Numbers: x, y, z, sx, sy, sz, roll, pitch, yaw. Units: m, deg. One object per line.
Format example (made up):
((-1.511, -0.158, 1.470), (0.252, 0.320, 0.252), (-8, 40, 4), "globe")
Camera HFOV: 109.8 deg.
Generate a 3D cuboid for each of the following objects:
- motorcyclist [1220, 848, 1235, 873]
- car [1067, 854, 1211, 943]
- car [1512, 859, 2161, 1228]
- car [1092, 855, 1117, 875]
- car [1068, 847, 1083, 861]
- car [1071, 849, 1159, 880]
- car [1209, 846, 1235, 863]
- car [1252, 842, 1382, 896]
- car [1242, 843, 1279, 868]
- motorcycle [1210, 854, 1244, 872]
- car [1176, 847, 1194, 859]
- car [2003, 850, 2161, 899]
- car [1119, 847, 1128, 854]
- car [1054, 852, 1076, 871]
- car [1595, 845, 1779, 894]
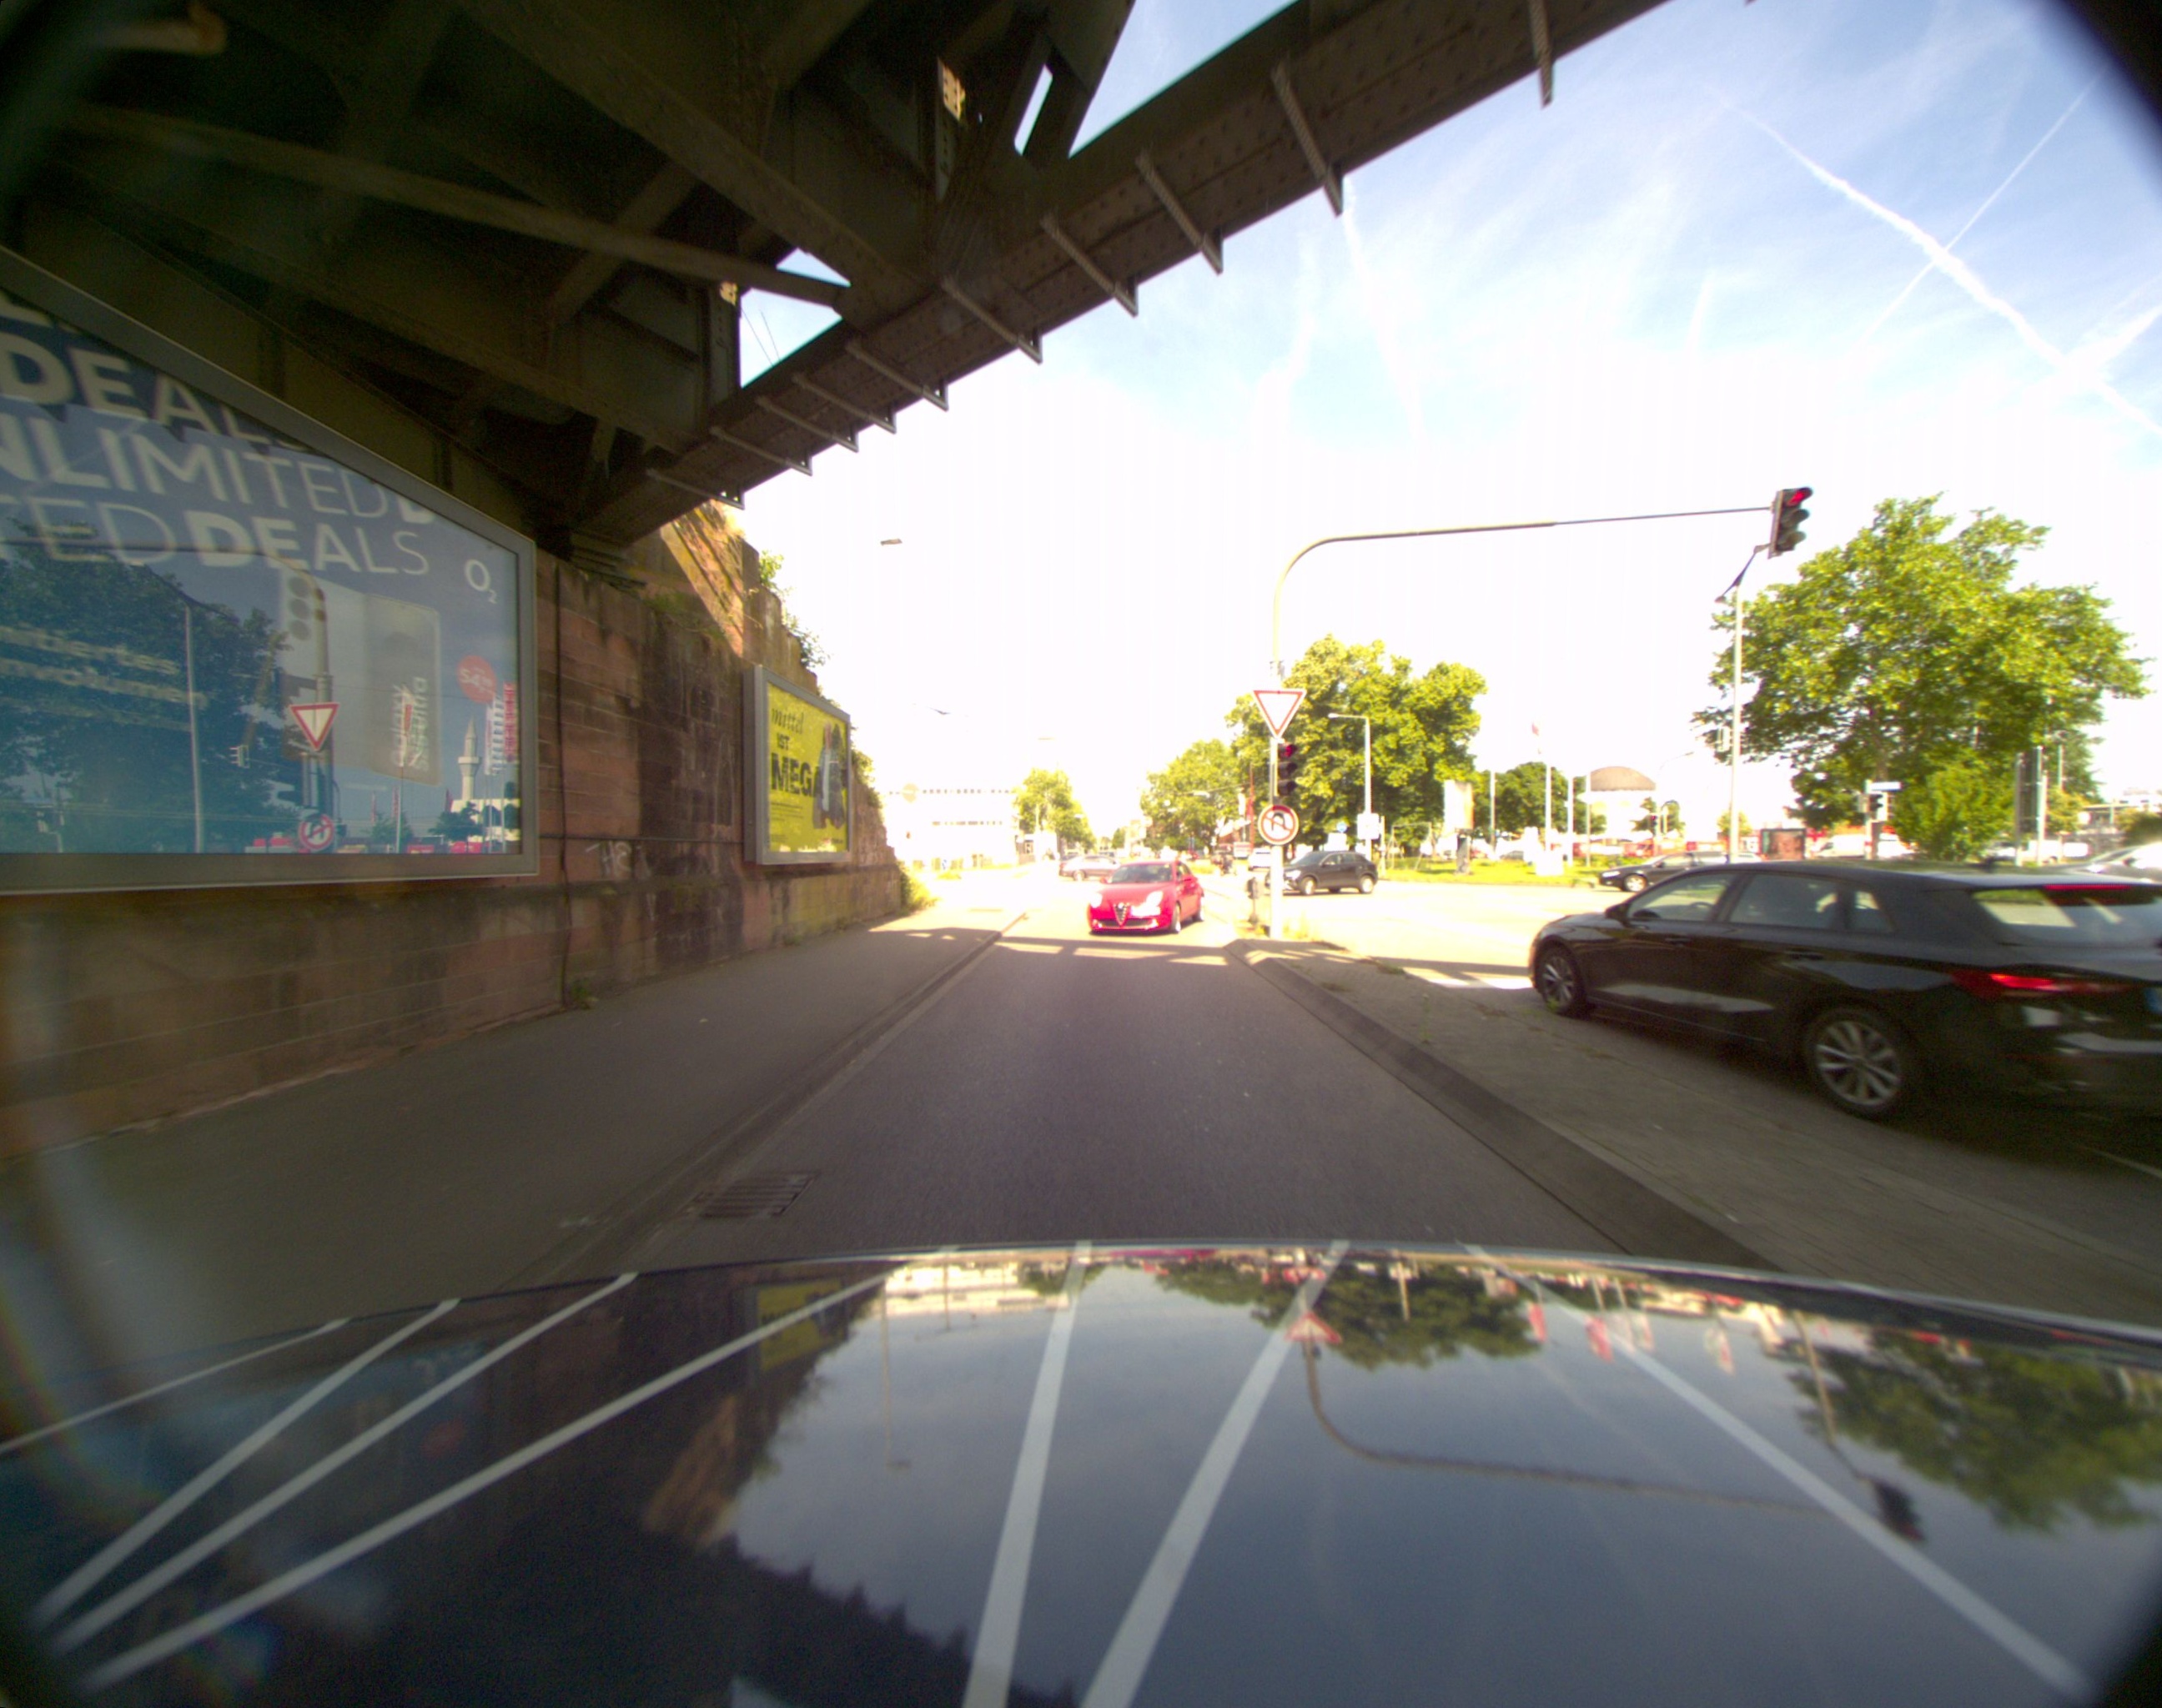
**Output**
((9.179, 0.395, 47.500), (0.642, 1.519, 0.632), (-2, 1, -19), "motorcyclist")
((1.332, 0.804, 15.525), (1.795, 1.446, 3.984), (-1, 1, 21), "car")
((4.982, 0.806, 5.204), (1.785, 1.439, 4.120), (0, 1, 1), "car")
((1.862, 0.836, 60.986), (1.824, 1.467, 4.246), (0, 1, 0), "car")
((-0.635, 0.011, 90.065), (1.824, 1.569, 4.246), (0, 1, 0), "car")
((1.806, 0.575, 41.368), (4.674, 1.632, 1.824), (0, 1, -3), "car")
((14.639, 0.041, 78.999), (1.927, 1.712, 3.824), (-2, 1, -1), "car")
((8.242, 0.492, 26.556), (4.116, 1.632, 1.822), (-2, 1, -23), "car")
((13.254, 0.090, 56.291), (1.824, 1.712, 3.636), (-2, 1, -1), "car")
((9.126, 0.574, 47.576), (1.985, 1.077, 0.777), (-1, 1, -20), "motorcycle")
((14.516, -0.167, 106.198), (1.927, 1.507, 3.824), (-2, 1, -1), "car")
((31.781, 0.609, 23.093), (4.446, 1.407, 1.707), (1, 2, 36), "car")
((10.288, -0.867, 185.335), (1.927, 1.507, 3.824), (-2, 1, -1), "car")
((-1.414, 0.651, 66.837), (1.824, 1.569, 4.246), (0, 1, 0), "car")
((21.084, 0.470, 26.703), (4.911, 1.564, 1.707), (1, 2, 36), "car")
